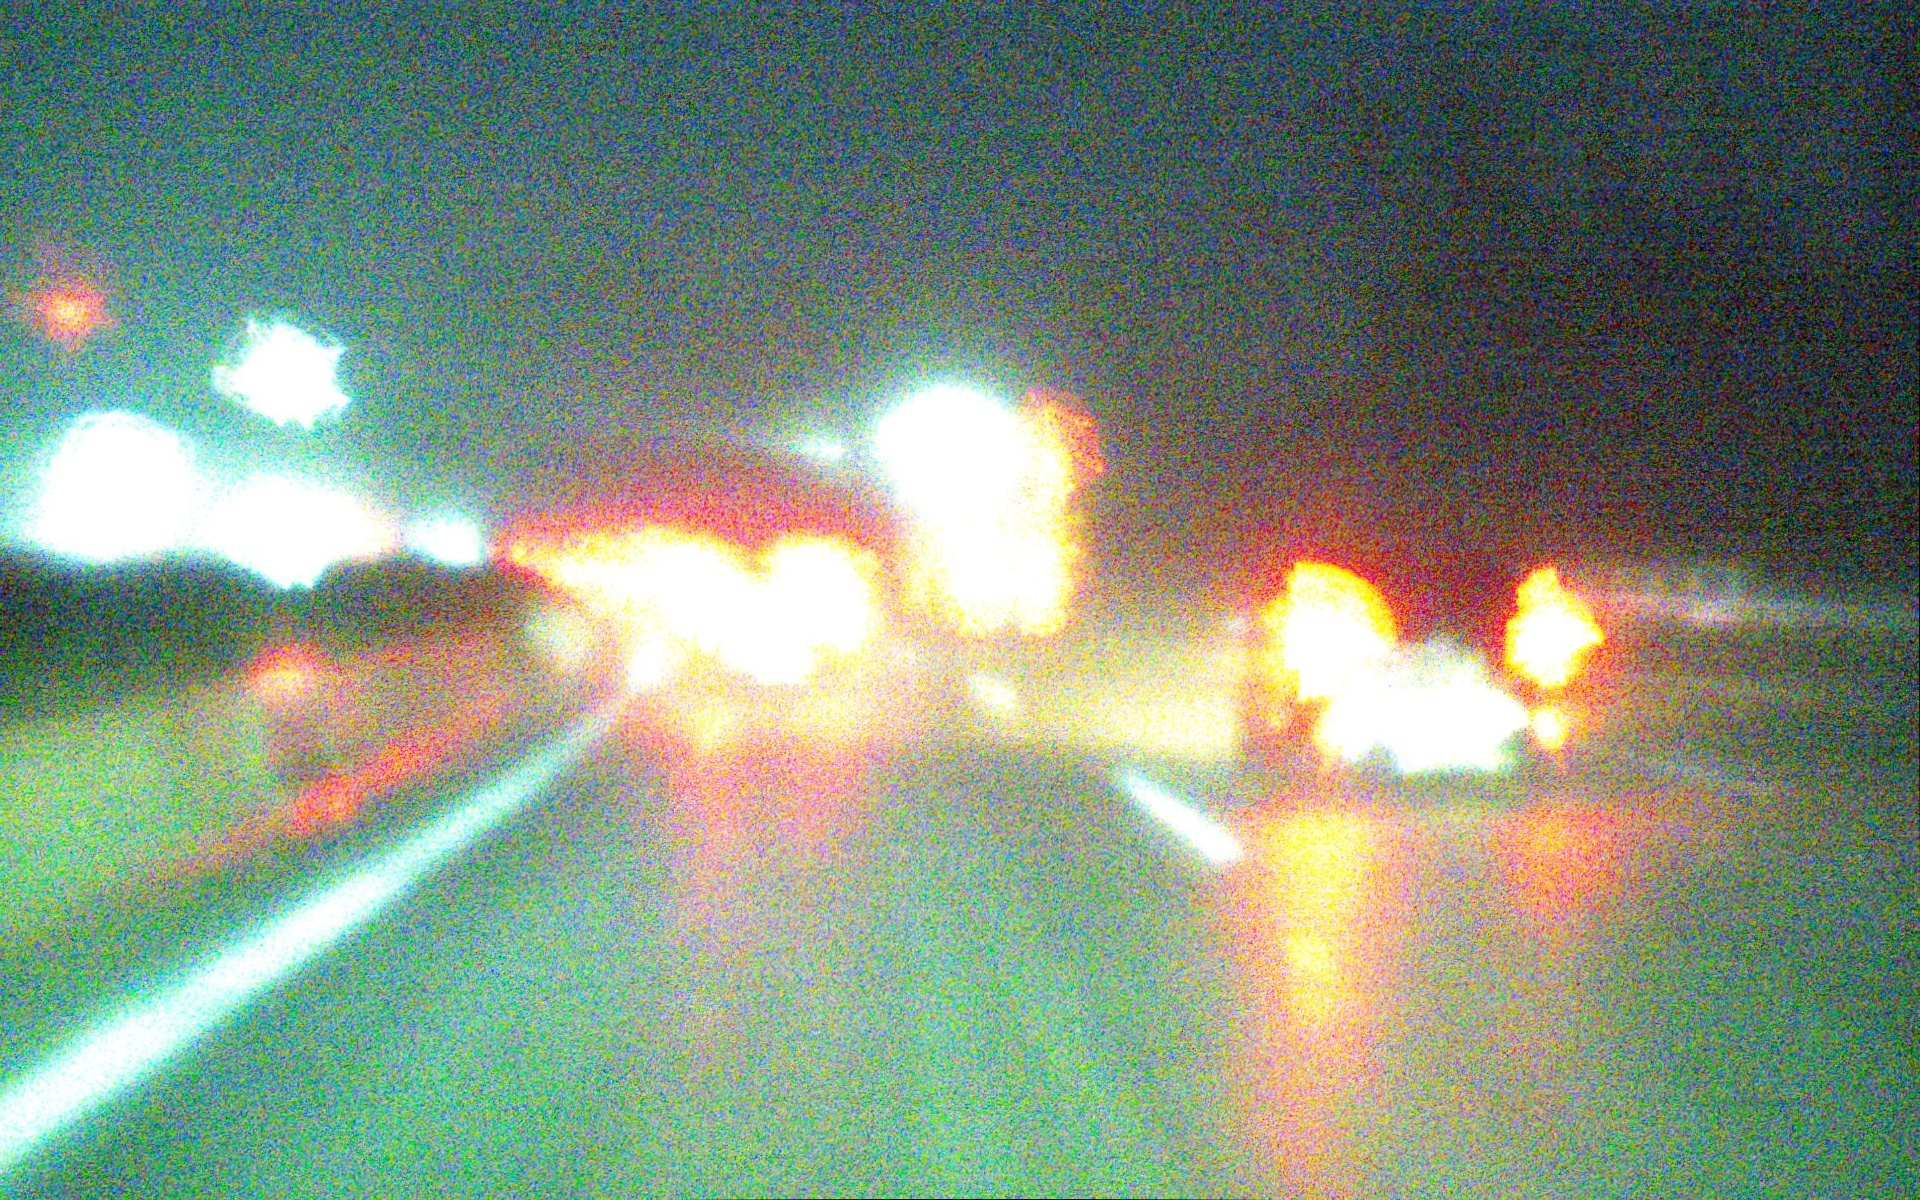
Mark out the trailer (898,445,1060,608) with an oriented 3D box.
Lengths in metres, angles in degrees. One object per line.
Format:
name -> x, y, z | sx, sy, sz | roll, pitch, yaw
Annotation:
trailer -> 0.395, -2.181, 97.530 | 2.738, 4.233, 13.375 | -2, 2, -7

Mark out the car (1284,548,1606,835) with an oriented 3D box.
car -> 2.979, 0.488, 21.677 | 1.801, 1.612, 4.256 | 1, 1, 6

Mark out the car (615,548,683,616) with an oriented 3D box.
car -> -9.690, -0.539, 107.015 | 1.993, 2.007, 4.000 | -1, -1, -6

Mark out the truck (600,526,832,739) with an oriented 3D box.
truck -> -2.695, 0.276, 39.534 | 2.145, 2.070, 6.604 | 4, 1, -1

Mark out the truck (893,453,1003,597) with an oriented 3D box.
truck -> -0.409, -2.274, 104.124 | 2.710, 4.227, 5.294 | 0, 1, -7
